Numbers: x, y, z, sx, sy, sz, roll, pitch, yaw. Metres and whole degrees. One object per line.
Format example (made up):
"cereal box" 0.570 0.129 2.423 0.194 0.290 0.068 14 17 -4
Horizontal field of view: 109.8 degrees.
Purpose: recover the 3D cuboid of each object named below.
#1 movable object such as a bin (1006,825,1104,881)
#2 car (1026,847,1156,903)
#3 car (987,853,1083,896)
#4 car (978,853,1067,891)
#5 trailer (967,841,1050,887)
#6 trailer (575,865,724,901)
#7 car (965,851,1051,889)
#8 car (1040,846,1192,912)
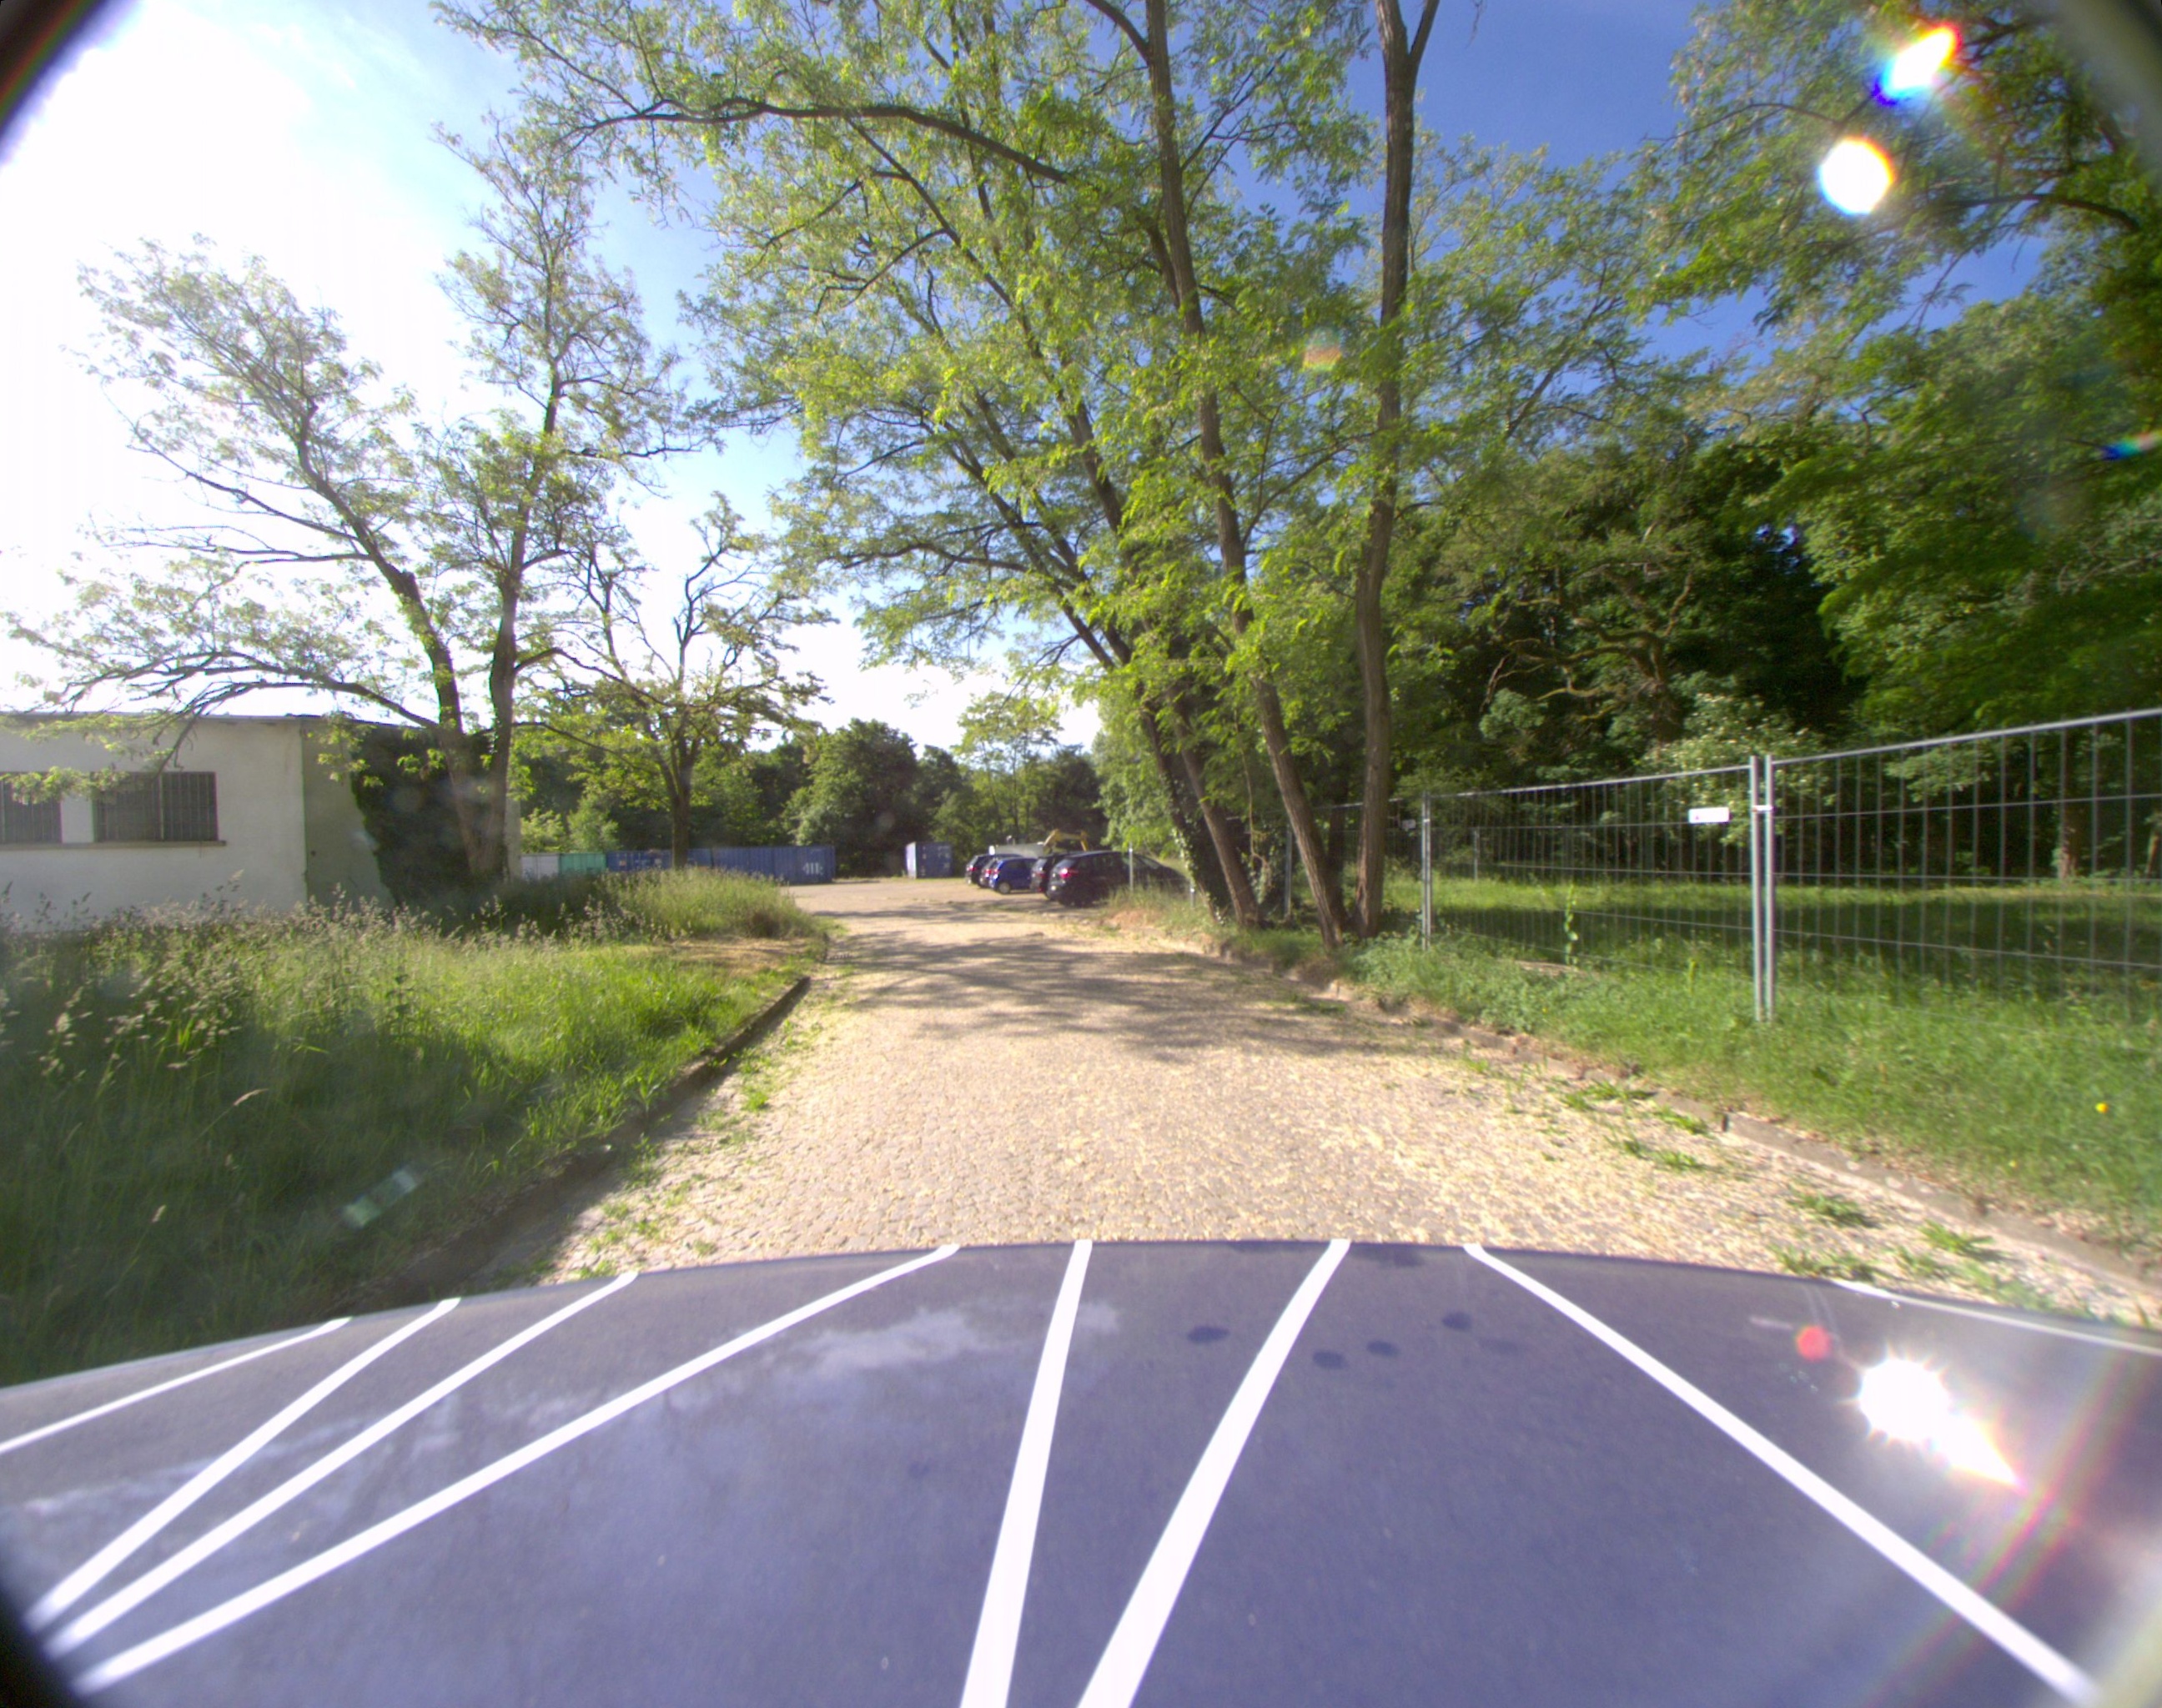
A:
"movable object such as a bin" -1.504 -0.065 42.808 5.165 2.949 1.998 -2 1 -11
"car" 0.331 0.714 26.850 4.193 1.646 1.815 -3 1 -17
"car" -1.946 0.817 31.762 3.664 1.484 1.712 -4 1 -13
"car" -2.660 0.792 34.268 3.665 1.443 1.831 -4 1 -16
"trailer" -3.770 0.502 39.531 3.974 2.082 1.637 -3 1 -15
"trailer" -23.284 1.526 41.437 6.496 1.509 2.851 -2 2 -16
"car" -3.550 0.756 36.547 3.822 1.631 1.866 -2 0 -14
"car" 1.078 0.729 23.696 4.303 1.643 1.790 -4 1 -21
